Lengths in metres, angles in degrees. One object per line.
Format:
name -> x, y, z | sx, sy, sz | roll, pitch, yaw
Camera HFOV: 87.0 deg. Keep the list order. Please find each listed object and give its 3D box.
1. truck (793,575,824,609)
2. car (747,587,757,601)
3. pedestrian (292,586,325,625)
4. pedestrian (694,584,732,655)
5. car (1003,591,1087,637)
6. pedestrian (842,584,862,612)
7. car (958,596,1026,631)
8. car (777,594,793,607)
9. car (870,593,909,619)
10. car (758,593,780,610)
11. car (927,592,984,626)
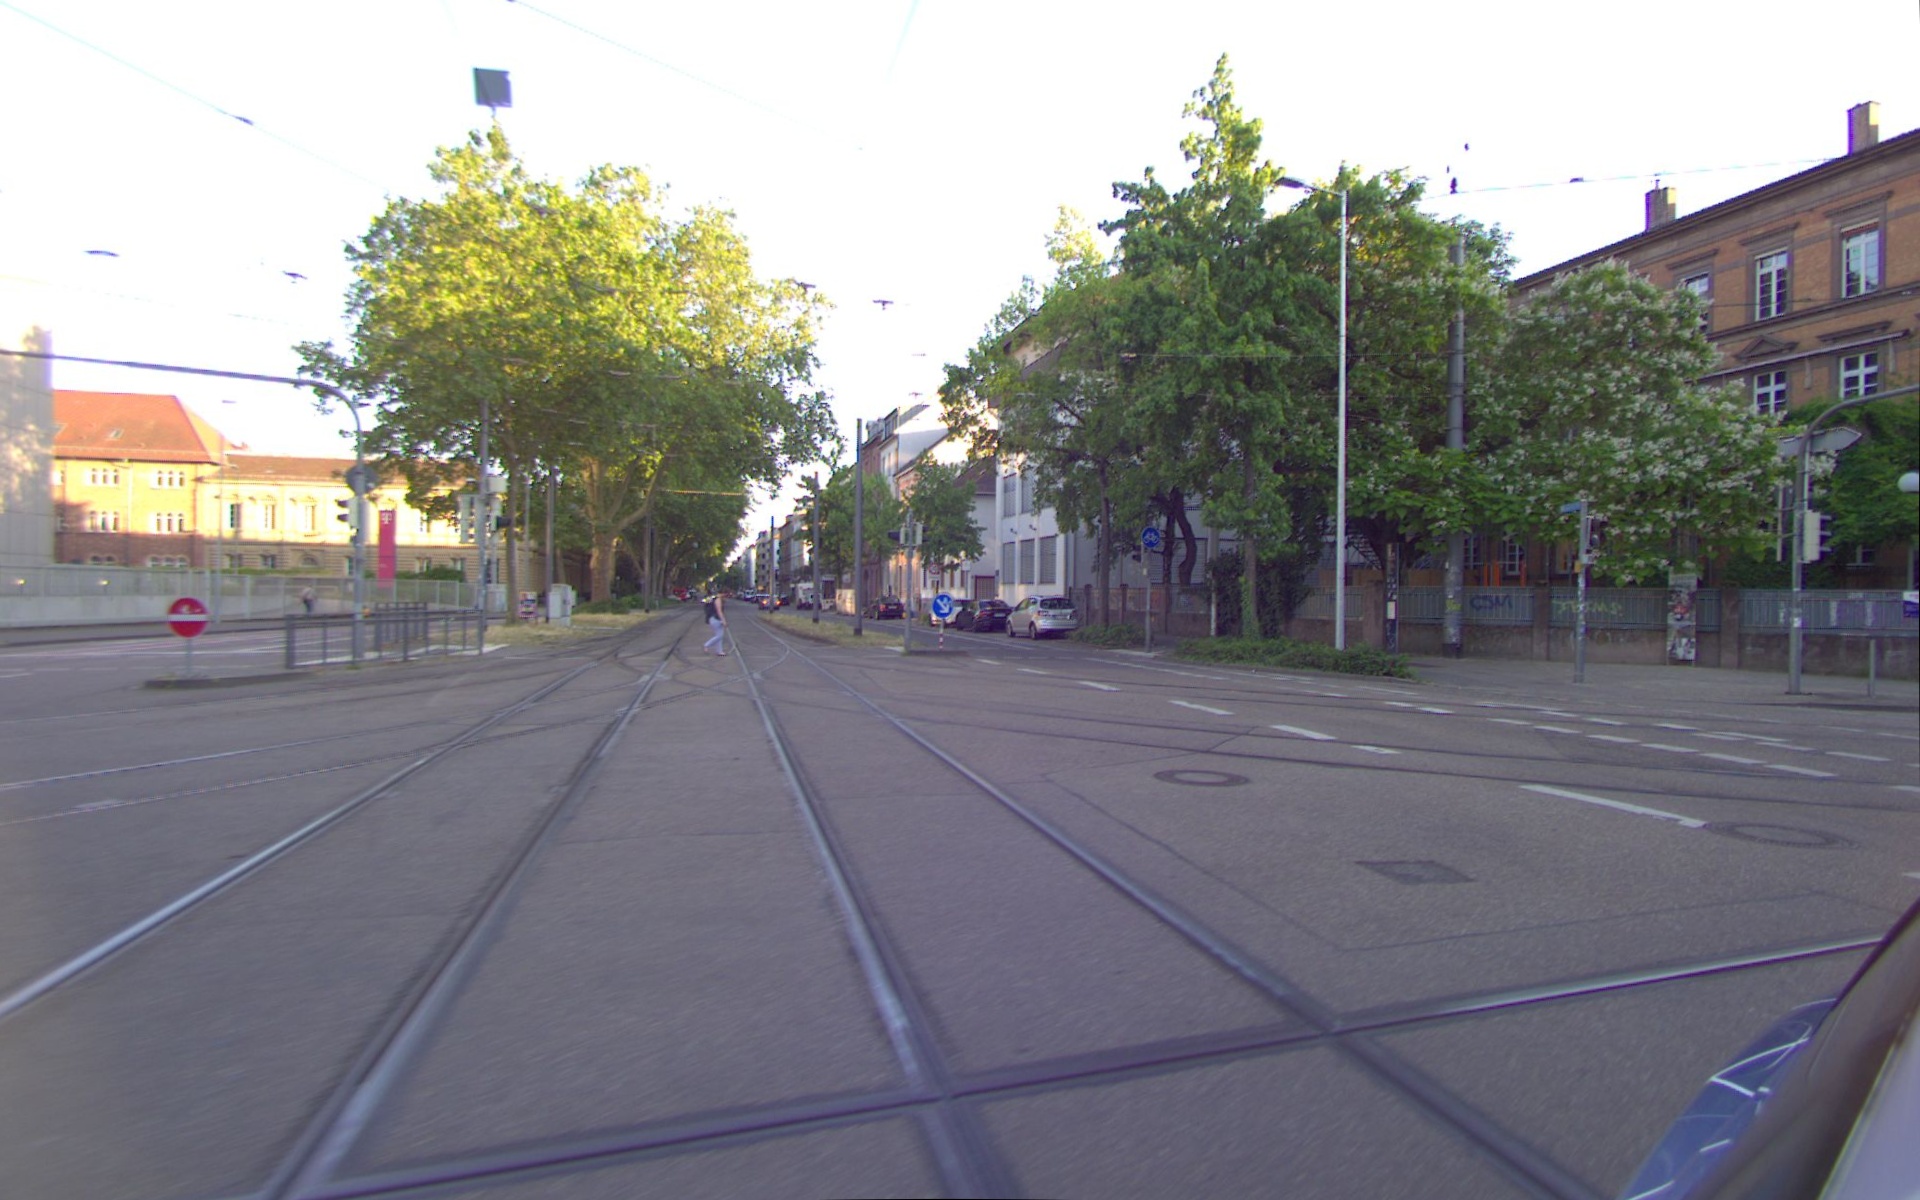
truck -> -16.140, -0.842, 107.846 | 3.139, 3.499, 8.879 | 0, 0, -9
car -> -47.302, -1.407, 229.896 | 1.958, 3.233, 5.274 | 0, 0, -13
pedestrian -> -29.044, 0.255, 45.115 | 1.055, 1.699, 0.874 | 0, 0, 34
pedestrian -> -5.879, 0.453, 24.092 | 0.812, 1.636, 0.757 | 0, 0, -18
car -> 3.076, 0.478, 37.352 | 1.875, 1.571, 4.008 | -1, 1, -14
pedestrian -> -7.916, -0.150, 74.163 | 1.144, 2.039, 0.888 | 0, 0, 22
car -> 1.330, 0.551, 43.714 | 1.875, 1.382, 4.008 | -1, 1, -14
car -> -24.304, 0.075, 140.297 | 1.958, 1.666, 4.008 | 0, 0, -13
car -> -4.606, 0.347, 65.564 | 1.875, 1.571, 4.008 | -1, 1, -14
car -> -18.822, 0.162, 99.613 | 1.958, 1.666, 4.008 | 0, 0, -13
car -> -0.274, 0.395, 49.694 | 1.875, 1.571, 4.008 | -1, 1, -14
